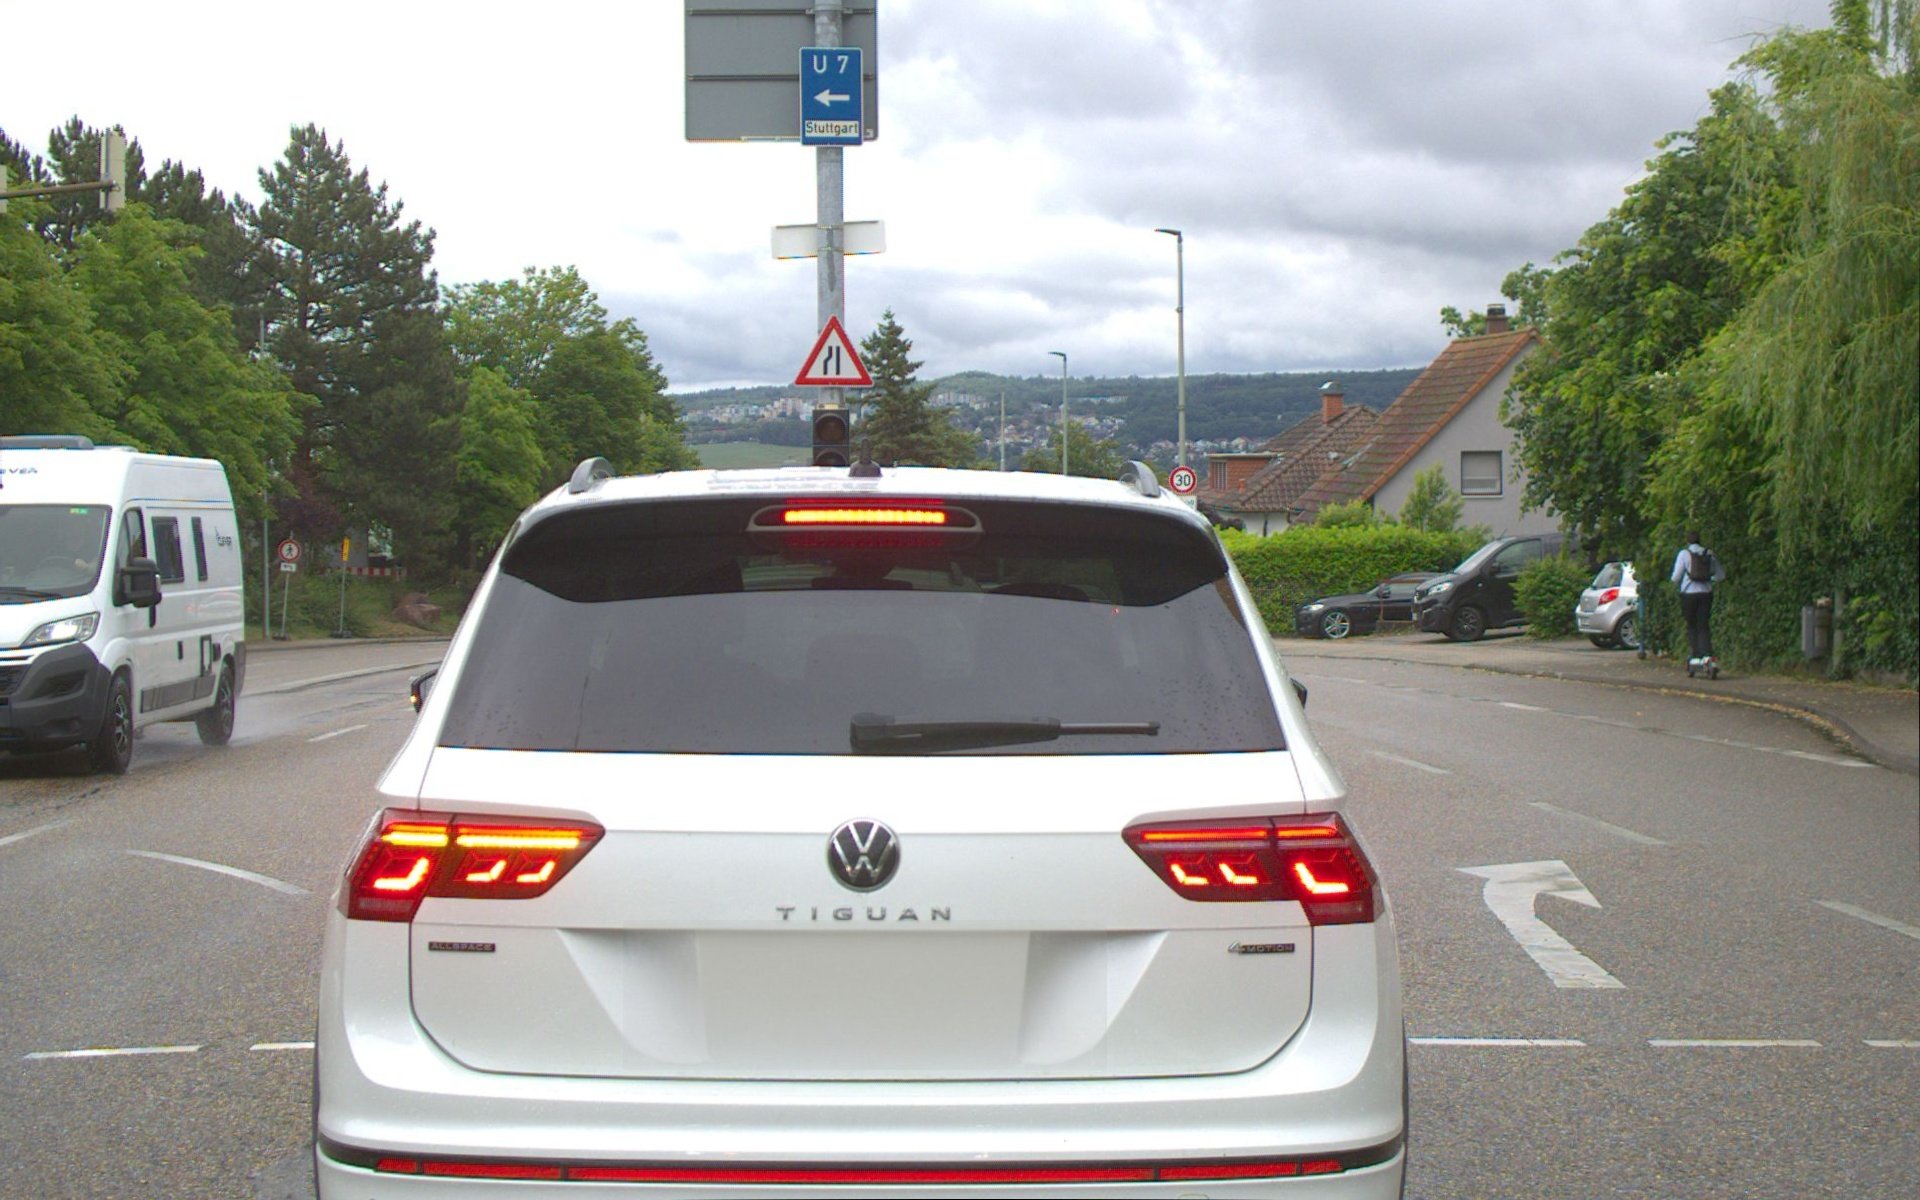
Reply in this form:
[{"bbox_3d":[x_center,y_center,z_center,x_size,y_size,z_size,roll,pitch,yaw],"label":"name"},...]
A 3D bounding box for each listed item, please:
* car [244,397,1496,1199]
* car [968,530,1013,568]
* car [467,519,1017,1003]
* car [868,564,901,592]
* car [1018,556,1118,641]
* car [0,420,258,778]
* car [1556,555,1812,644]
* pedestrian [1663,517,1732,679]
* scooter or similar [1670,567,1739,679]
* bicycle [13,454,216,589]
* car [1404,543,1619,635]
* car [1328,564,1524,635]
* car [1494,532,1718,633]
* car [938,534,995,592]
[{"bbox_3d":[-0.189,0.546,7.077,1.763,1.690,4.273,2,1,-1],"label":"car"},{"bbox_3d":[1.278,-2.154,145.548,1.850,1.569,4.000,-1,1,0],"label":"car"},{"bbox_3d":[-0.690,0.498,13.258,1.798,1.584,3.926,0,1,1],"label":"car"},{"bbox_3d":[-4.387,-1.296,201.117,1.850,1.569,4.000,-1,1,0],"label":"car"},{"bbox_3d":[1.884,-0.045,60.846,1.625,1.398,3.690,1,1,0],"label":"car"},{"bbox_3d":[-7.240,-0.046,27.211,2.297,2.519,5.774,-1,1,-2],"label":"car"},{"bbox_3d":[11.810,-0.008,56.205,3.713,1.390,1.729,-1,0,-7],"label":"car"},{"bbox_3d":[9.170,-0.031,42.766,0.655,1.995,0.718,0,1,-4],"label":"pedestrian"},{"bbox_3d":[9.211,0.269,42.561,0.461,1.356,1.385,0,1,-4],"label":"scooter or similar"},{"bbox_3d":[-7.449,-0.692,30.332,1.636,1.122,0.468,-2,2,-2],"label":"bicycle"},{"bbox_3d":[10.245,-0.218,64.057,3.627,1.620,1.792,0,2,-4],"label":"car"},{"bbox_3d":[9.293,-0.002,68.699,3.687,1.365,1.519,1,-1,-2],"label":"car"},{"bbox_3d":[11.537,-0.328,61.542,3.627,1.740,1.708,-1,2,-4],"label":"car"},{"bbox_3d":[0.214,-1.306,120.037,1.850,1.568,4.002,3,6,0],"label":"car"}]
